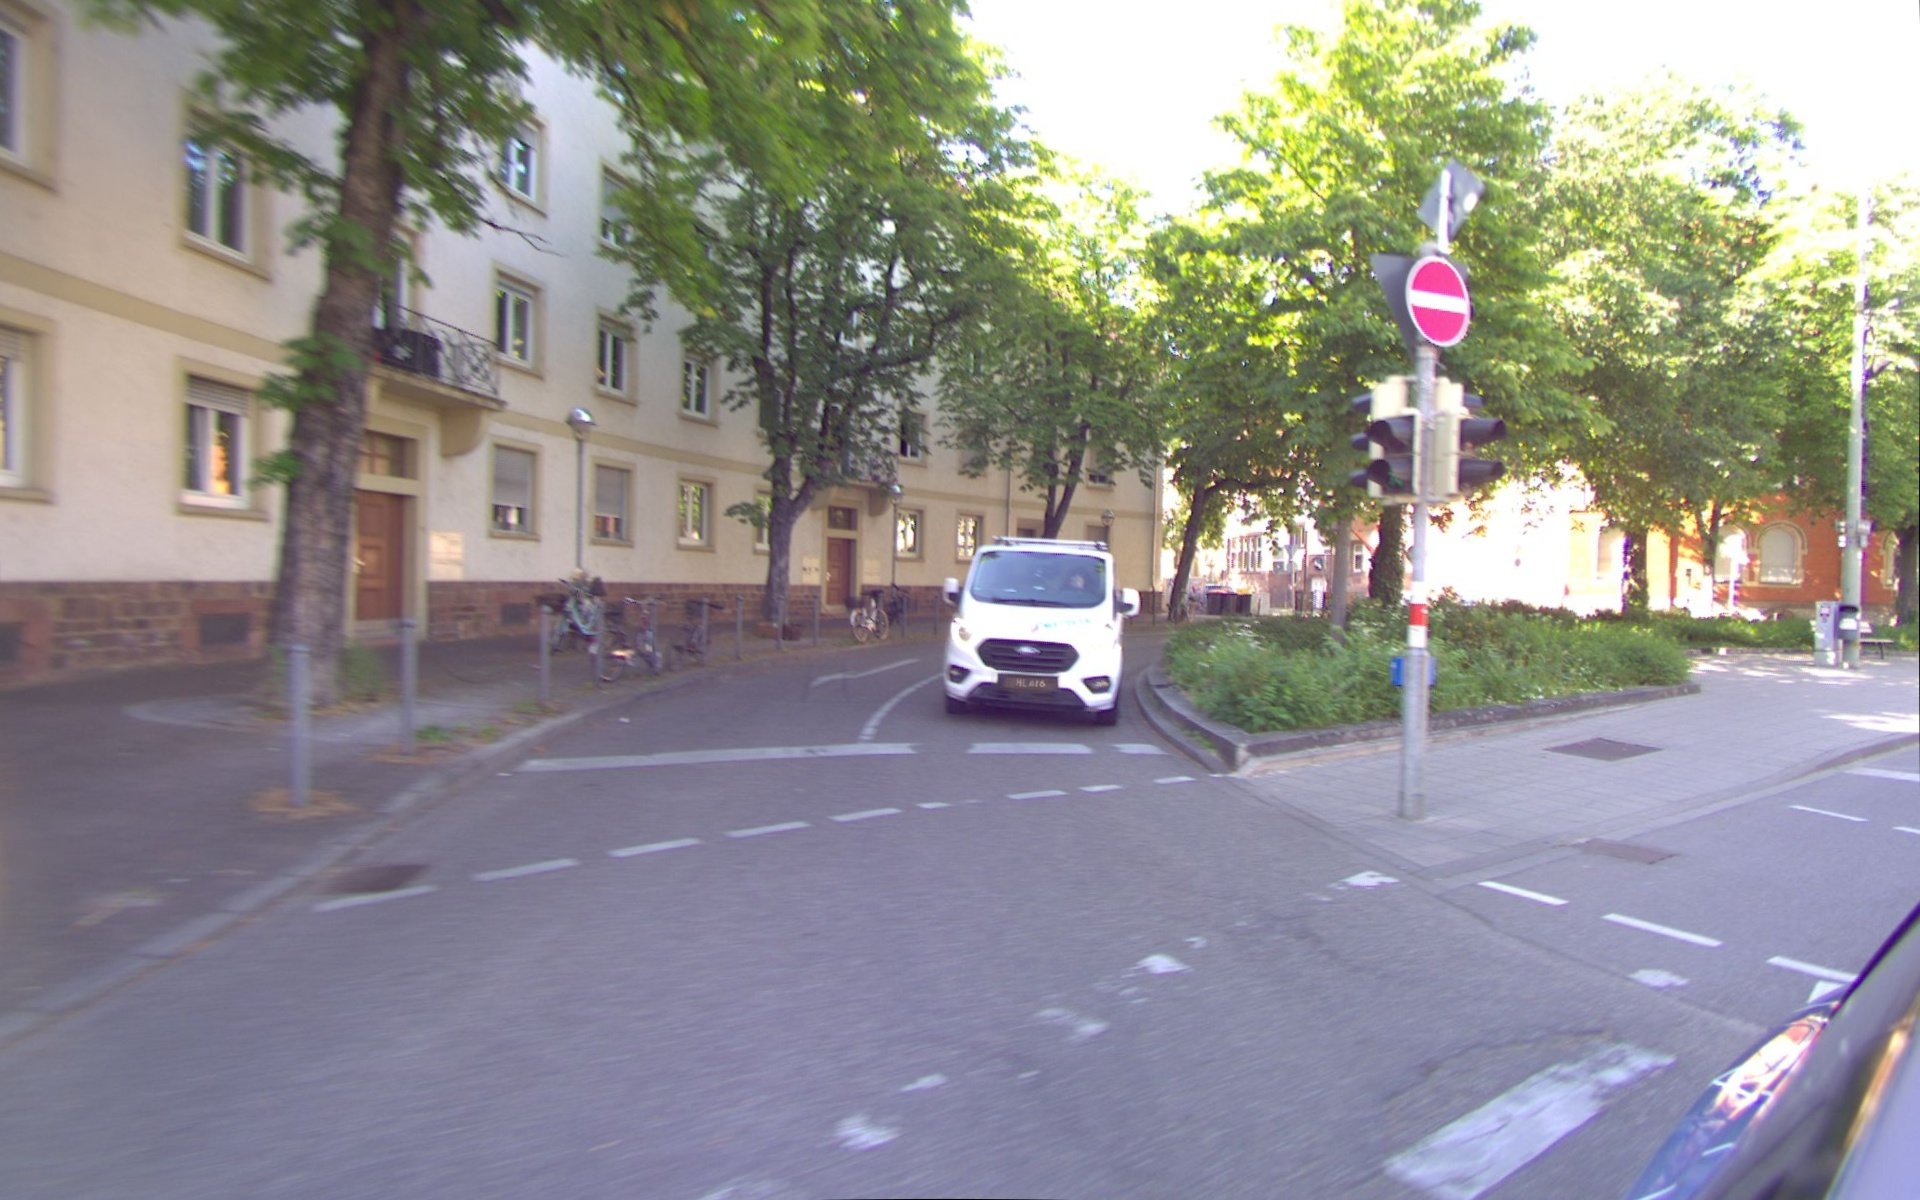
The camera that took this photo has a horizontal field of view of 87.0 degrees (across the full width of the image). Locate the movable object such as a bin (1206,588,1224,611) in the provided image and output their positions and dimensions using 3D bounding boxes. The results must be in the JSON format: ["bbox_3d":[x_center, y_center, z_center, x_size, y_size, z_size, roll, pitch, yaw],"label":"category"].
[{"bbox_3d":[11.283,-0.026,44.775,0.532,0.977,0.644,1,0,-7],"label":"movable object such as a bin"}]

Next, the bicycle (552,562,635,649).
[{"bbox_3d":[-5.836,0.078,16.190,0.422,1.296,1.482,4,1,14],"label":"bicycle"}]

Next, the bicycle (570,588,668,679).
[{"bbox_3d":[-4.392,0.405,13.122,0.422,1.093,1.482,4,1,14],"label":"bicycle"}]

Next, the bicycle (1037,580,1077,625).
[{"bbox_3d":[2.900,0.084,30.253,0.425,1.296,1.468,4,1,36],"label":"bicycle"}]

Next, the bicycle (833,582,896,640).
[{"bbox_3d":[-2.052,0.229,22.051,0.471,1.167,1.978,5,1,20],"label":"bicycle"}]

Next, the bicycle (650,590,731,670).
[{"bbox_3d":[-3.944,0.407,14.905,0.422,1.093,1.482,4,1,14],"label":"bicycle"}]

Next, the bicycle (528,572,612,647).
[{"bbox_3d":[-6.294,0.141,16.398,0.422,1.135,1.514,4,1,14],"label":"bicycle"}]

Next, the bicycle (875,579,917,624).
[{"bbox_3d":[-1.698,0.013,27.049,0.456,1.129,1.554,4,3,22],"label":"bicycle"}]

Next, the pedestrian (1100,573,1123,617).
[{"bbox_3d":[5.684,-0.188,37.989,0.617,1.655,0.572,1,-1,-35],"label":"pedestrian"}]

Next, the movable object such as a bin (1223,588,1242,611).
[{"bbox_3d":[12.085,-0.024,44.878,0.570,0.977,0.644,1,0,-7],"label":"movable object such as a bin"}]

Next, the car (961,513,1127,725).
[{"bbox_3d":[1.199,0.175,12.597,1.659,2.118,4.745,1,0,9],"label":"car"}]

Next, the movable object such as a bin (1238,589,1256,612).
[{"bbox_3d":[12.748,0.023,44.949,0.532,0.977,0.644,1,0,-7],"label":"movable object such as a bin"}]

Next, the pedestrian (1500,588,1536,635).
[{"bbox_3d":[15.092,0.306,27.369,1.020,1.247,0.451,1,0,-34],"label":"pedestrian"}]

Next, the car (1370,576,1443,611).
[{"bbox_3d":[22.642,-0.322,51.431,1.601,1.738,3.809,1,0,-8],"label":"car"}]
